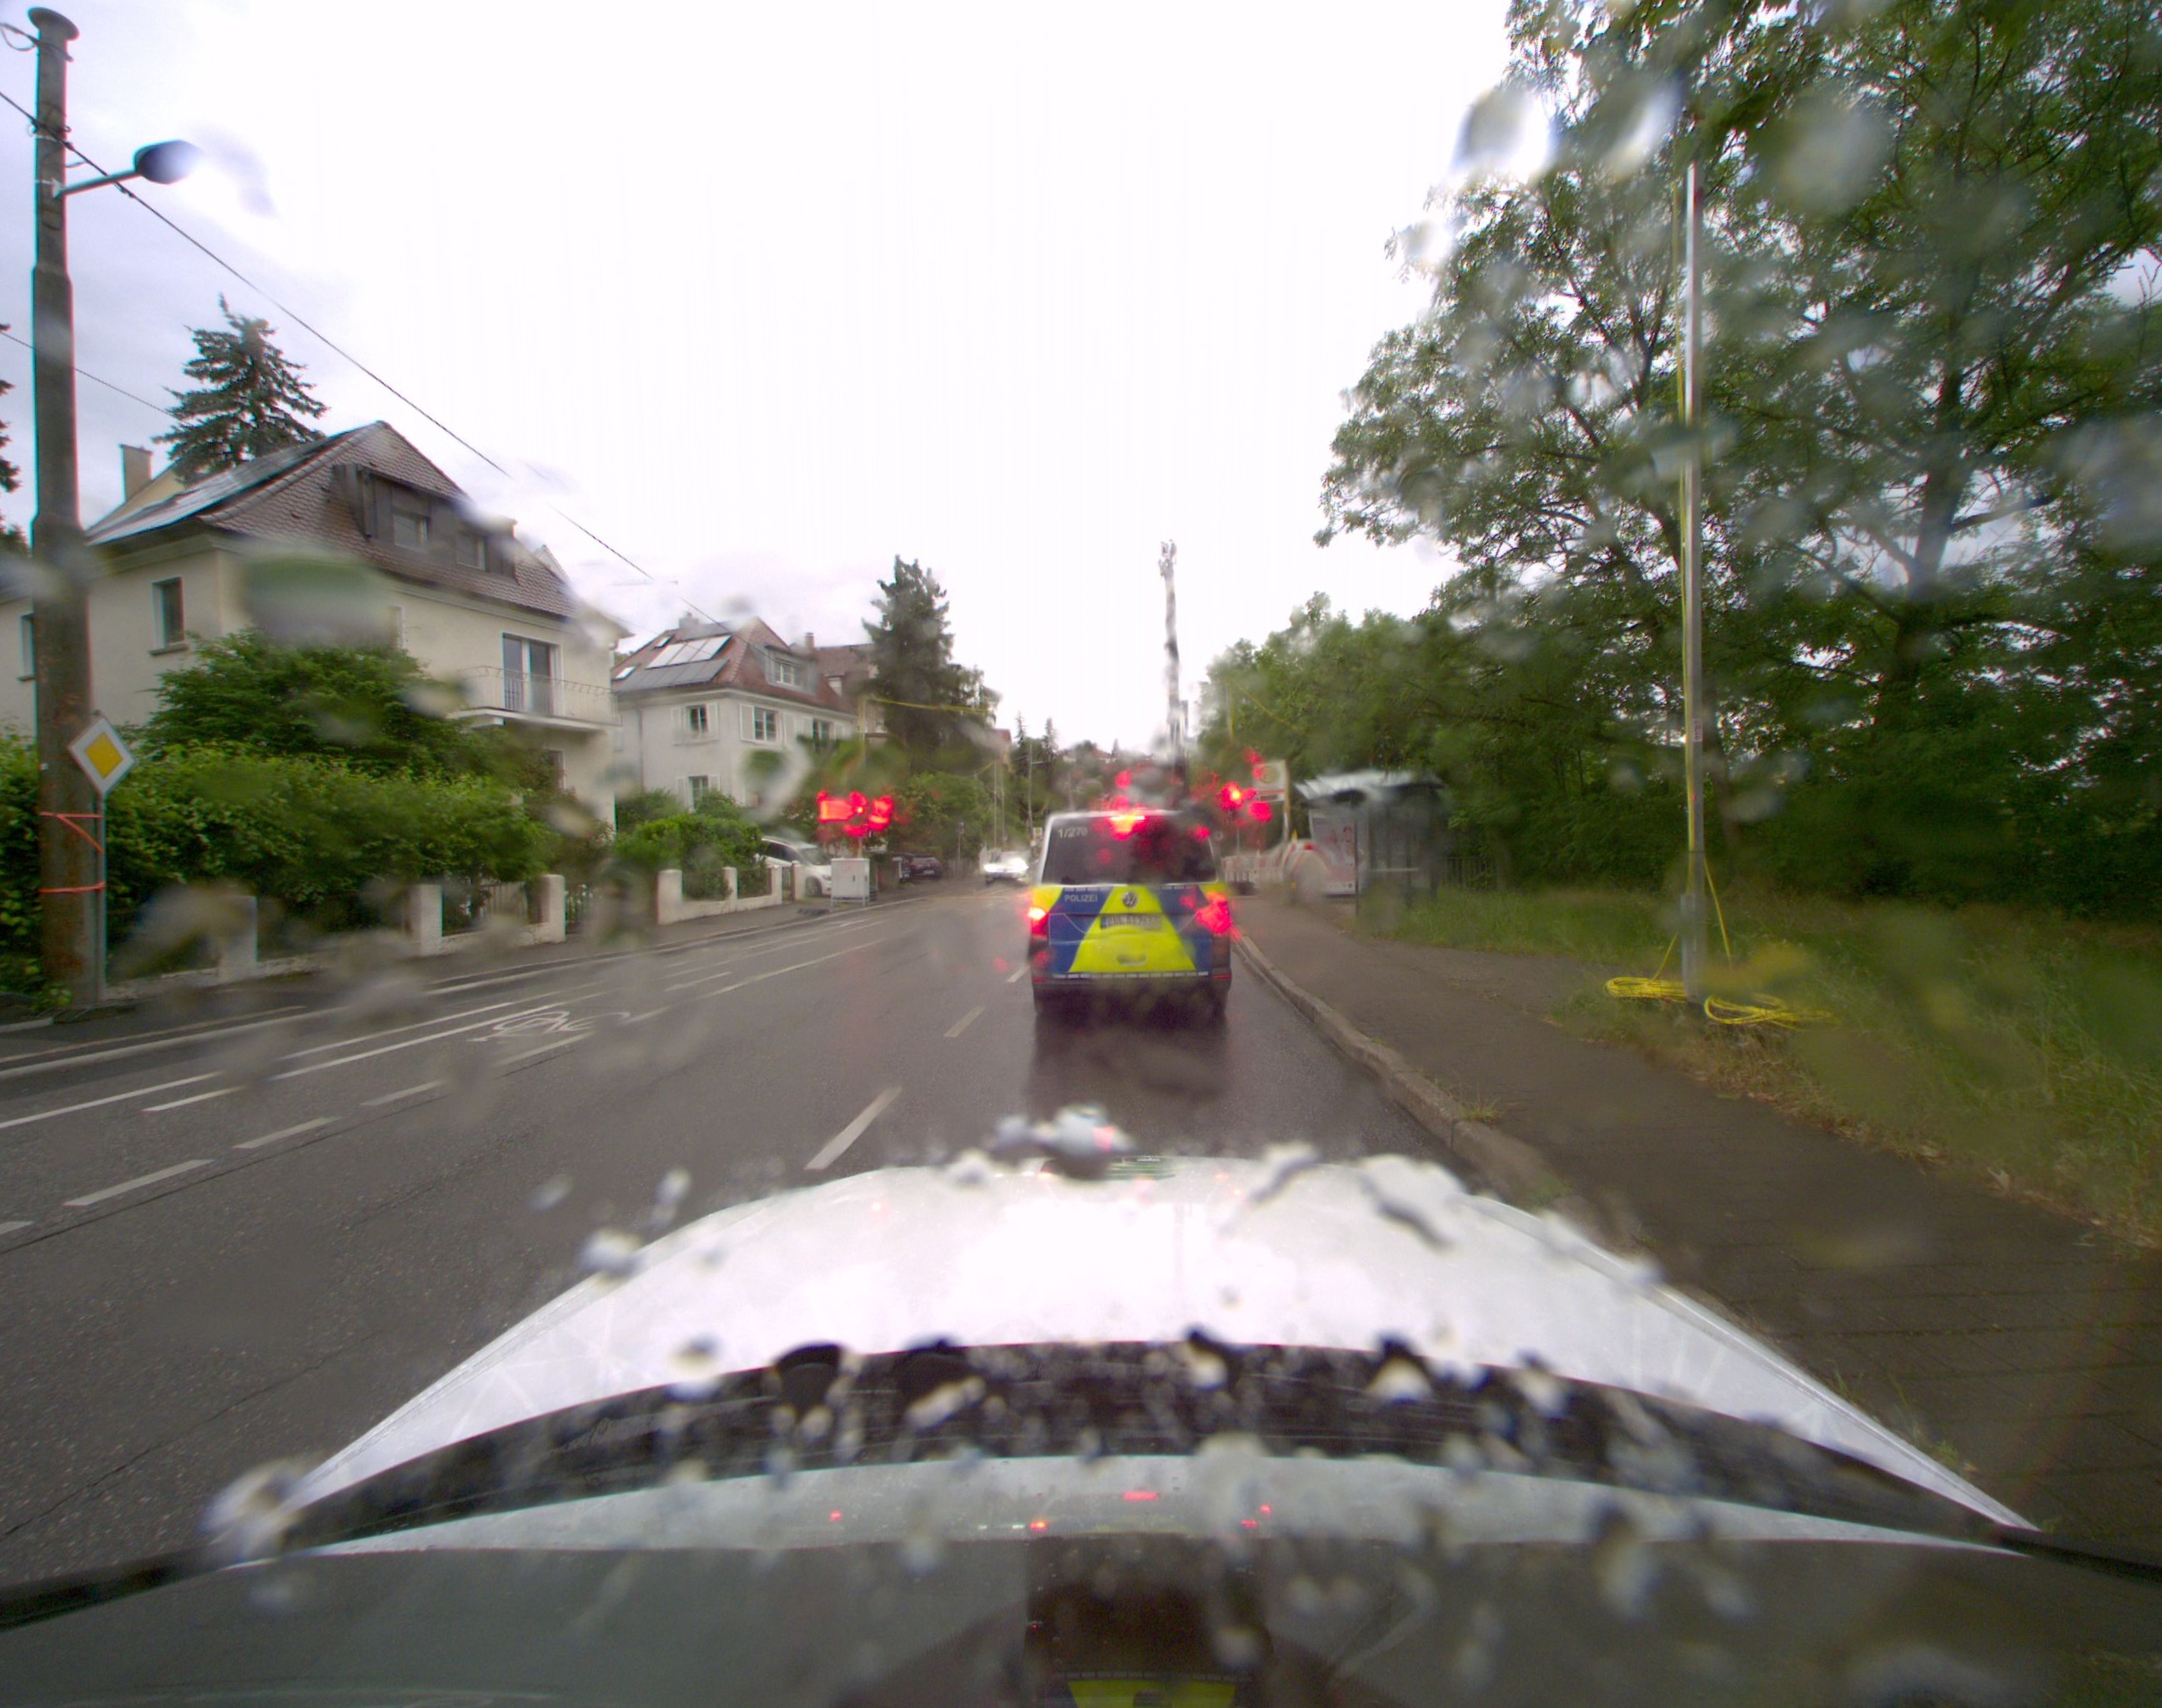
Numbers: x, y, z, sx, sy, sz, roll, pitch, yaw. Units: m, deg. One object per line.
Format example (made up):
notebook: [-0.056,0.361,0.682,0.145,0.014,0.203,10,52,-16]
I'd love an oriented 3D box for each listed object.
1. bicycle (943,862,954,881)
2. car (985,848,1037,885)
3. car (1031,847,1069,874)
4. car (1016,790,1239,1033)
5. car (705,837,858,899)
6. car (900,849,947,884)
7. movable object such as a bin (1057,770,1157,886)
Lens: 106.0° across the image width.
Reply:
bicycle: [-6.502,0.829,39.878,0.463,0.897,1.627,-1,0,-12]
car: [-3.055,0.552,36.486,1.846,1.527,4.820,0,0,1]
car: [-1.906,0.402,51.532,1.857,1.621,4.171,-1,0,5]
car: [0.459,0.485,8.930,1.886,2.050,4.002,0,0,2]
car: [-10.283,0.461,28.045,4.599,2.007,1.907,0,0,13]
car: [-7.457,0.559,38.288,1.770,1.486,3.720,0,1,-17]
movable object such as a bin: [1.104,-0.927,31.761,2.809,4.177,4.400,0,0,17]
